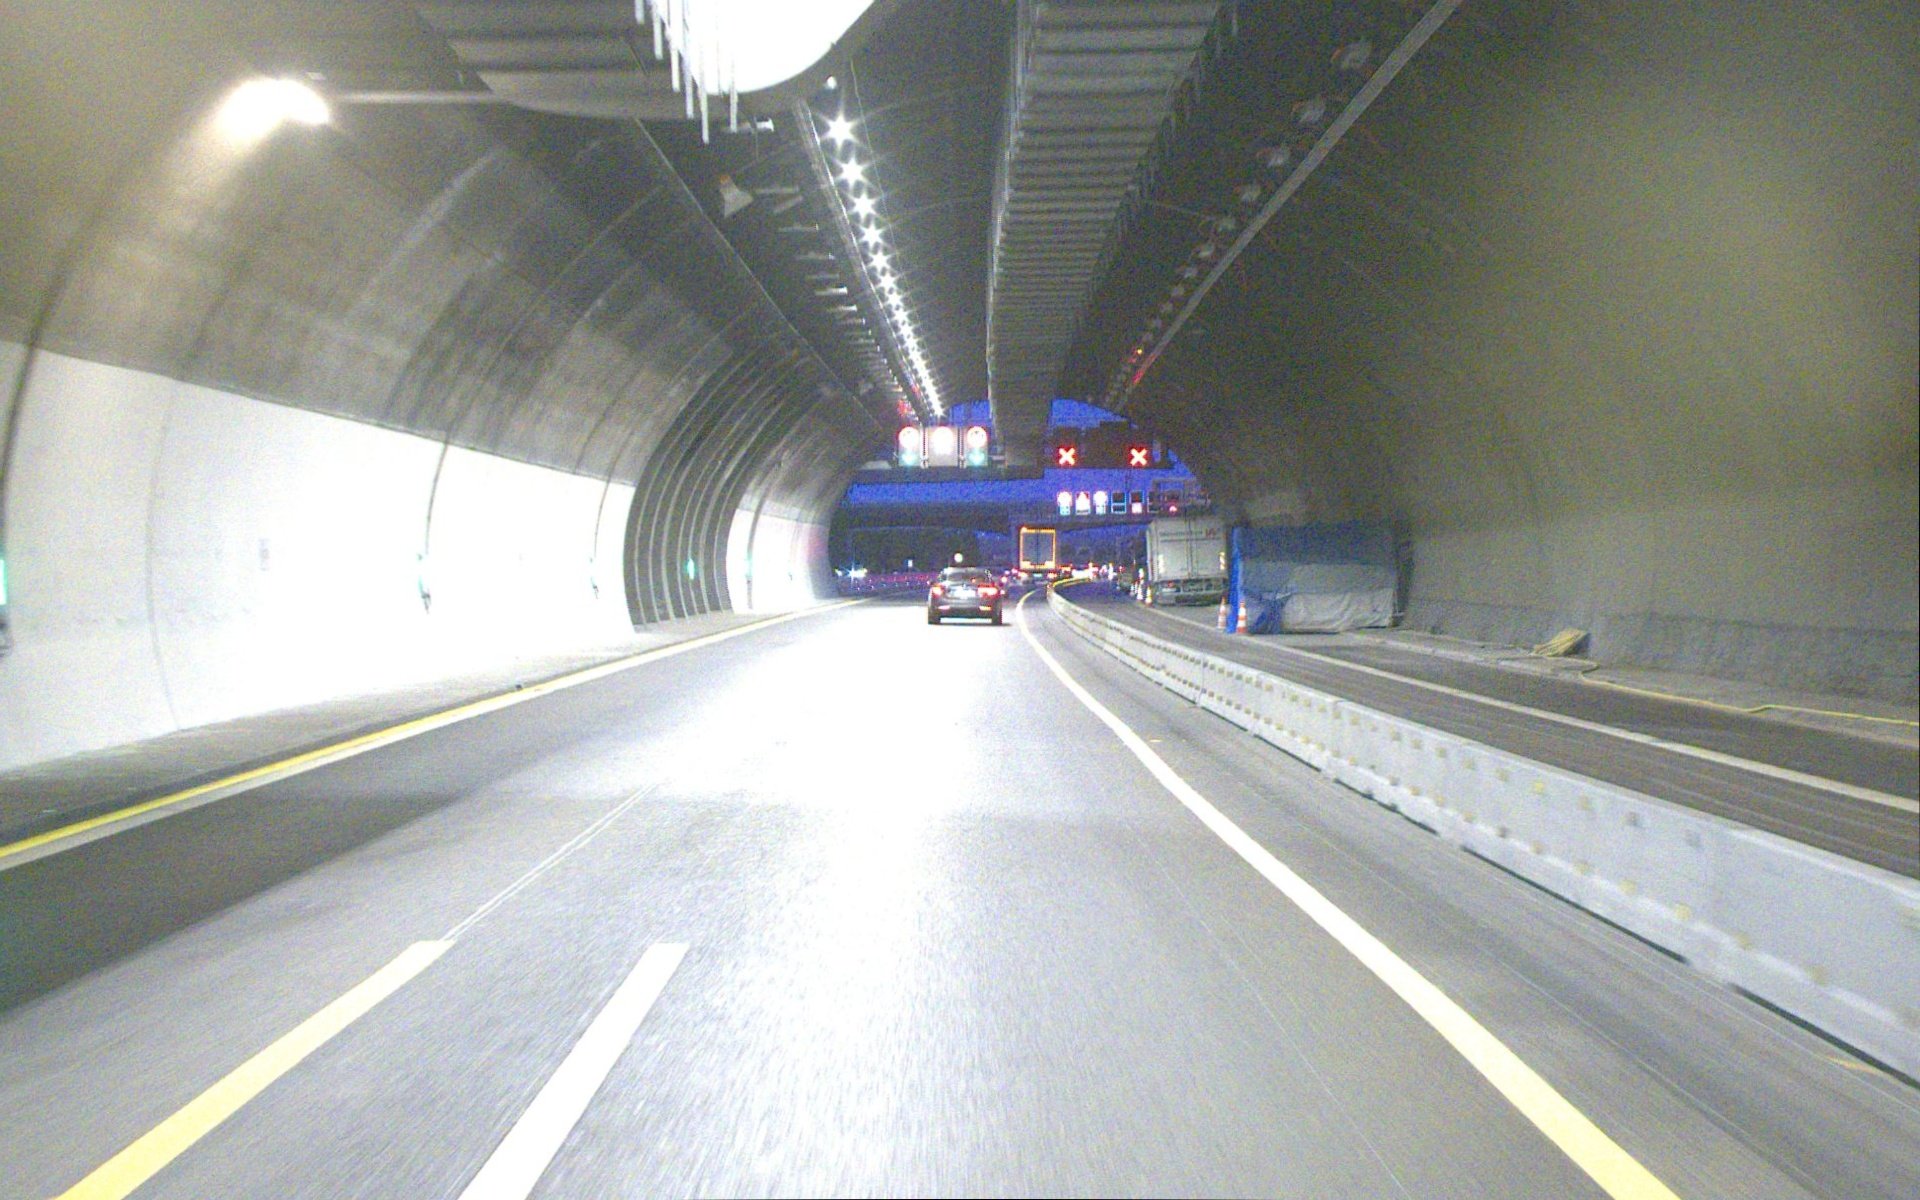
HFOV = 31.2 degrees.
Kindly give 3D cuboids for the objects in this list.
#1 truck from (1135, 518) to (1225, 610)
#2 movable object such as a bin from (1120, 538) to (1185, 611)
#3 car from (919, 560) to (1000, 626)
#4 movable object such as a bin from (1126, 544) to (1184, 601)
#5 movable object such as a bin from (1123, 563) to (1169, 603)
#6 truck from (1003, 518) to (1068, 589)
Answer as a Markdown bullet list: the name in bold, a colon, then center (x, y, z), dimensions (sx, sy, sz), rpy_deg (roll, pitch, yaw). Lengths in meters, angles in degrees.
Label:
- **truck**: center (8.165, -1.303, 128.432), dimensions (2.892, 3.261, 8.401), rpy_deg (1, 0, 1)
- **movable object such as a bin**: center (7.656, -1.006, 137.184), dimensions (2.238, 2.784, 7.232), rpy_deg (1, 0, 1)
- **car**: center (-0.035, -0.187, 87.566), dimensions (1.887, 1.601, 4.000), rpy_deg (1, 0, -2)
- **movable object such as a bin**: center (9.847, -1.368, 173.937), dimensions (2.737, 2.744, 7.049), rpy_deg (1, 0, 2)
- **movable object such as a bin**: center (8.703, -0.779, 161.427), dimensions (1.978, 1.809, 3.836), rpy_deg (1, 0, 1)
- **truck**: center (5.522, -3.336, 249.657), dimensions (4.546, 4.970, 9.598), rpy_deg (1, 0, 2)
